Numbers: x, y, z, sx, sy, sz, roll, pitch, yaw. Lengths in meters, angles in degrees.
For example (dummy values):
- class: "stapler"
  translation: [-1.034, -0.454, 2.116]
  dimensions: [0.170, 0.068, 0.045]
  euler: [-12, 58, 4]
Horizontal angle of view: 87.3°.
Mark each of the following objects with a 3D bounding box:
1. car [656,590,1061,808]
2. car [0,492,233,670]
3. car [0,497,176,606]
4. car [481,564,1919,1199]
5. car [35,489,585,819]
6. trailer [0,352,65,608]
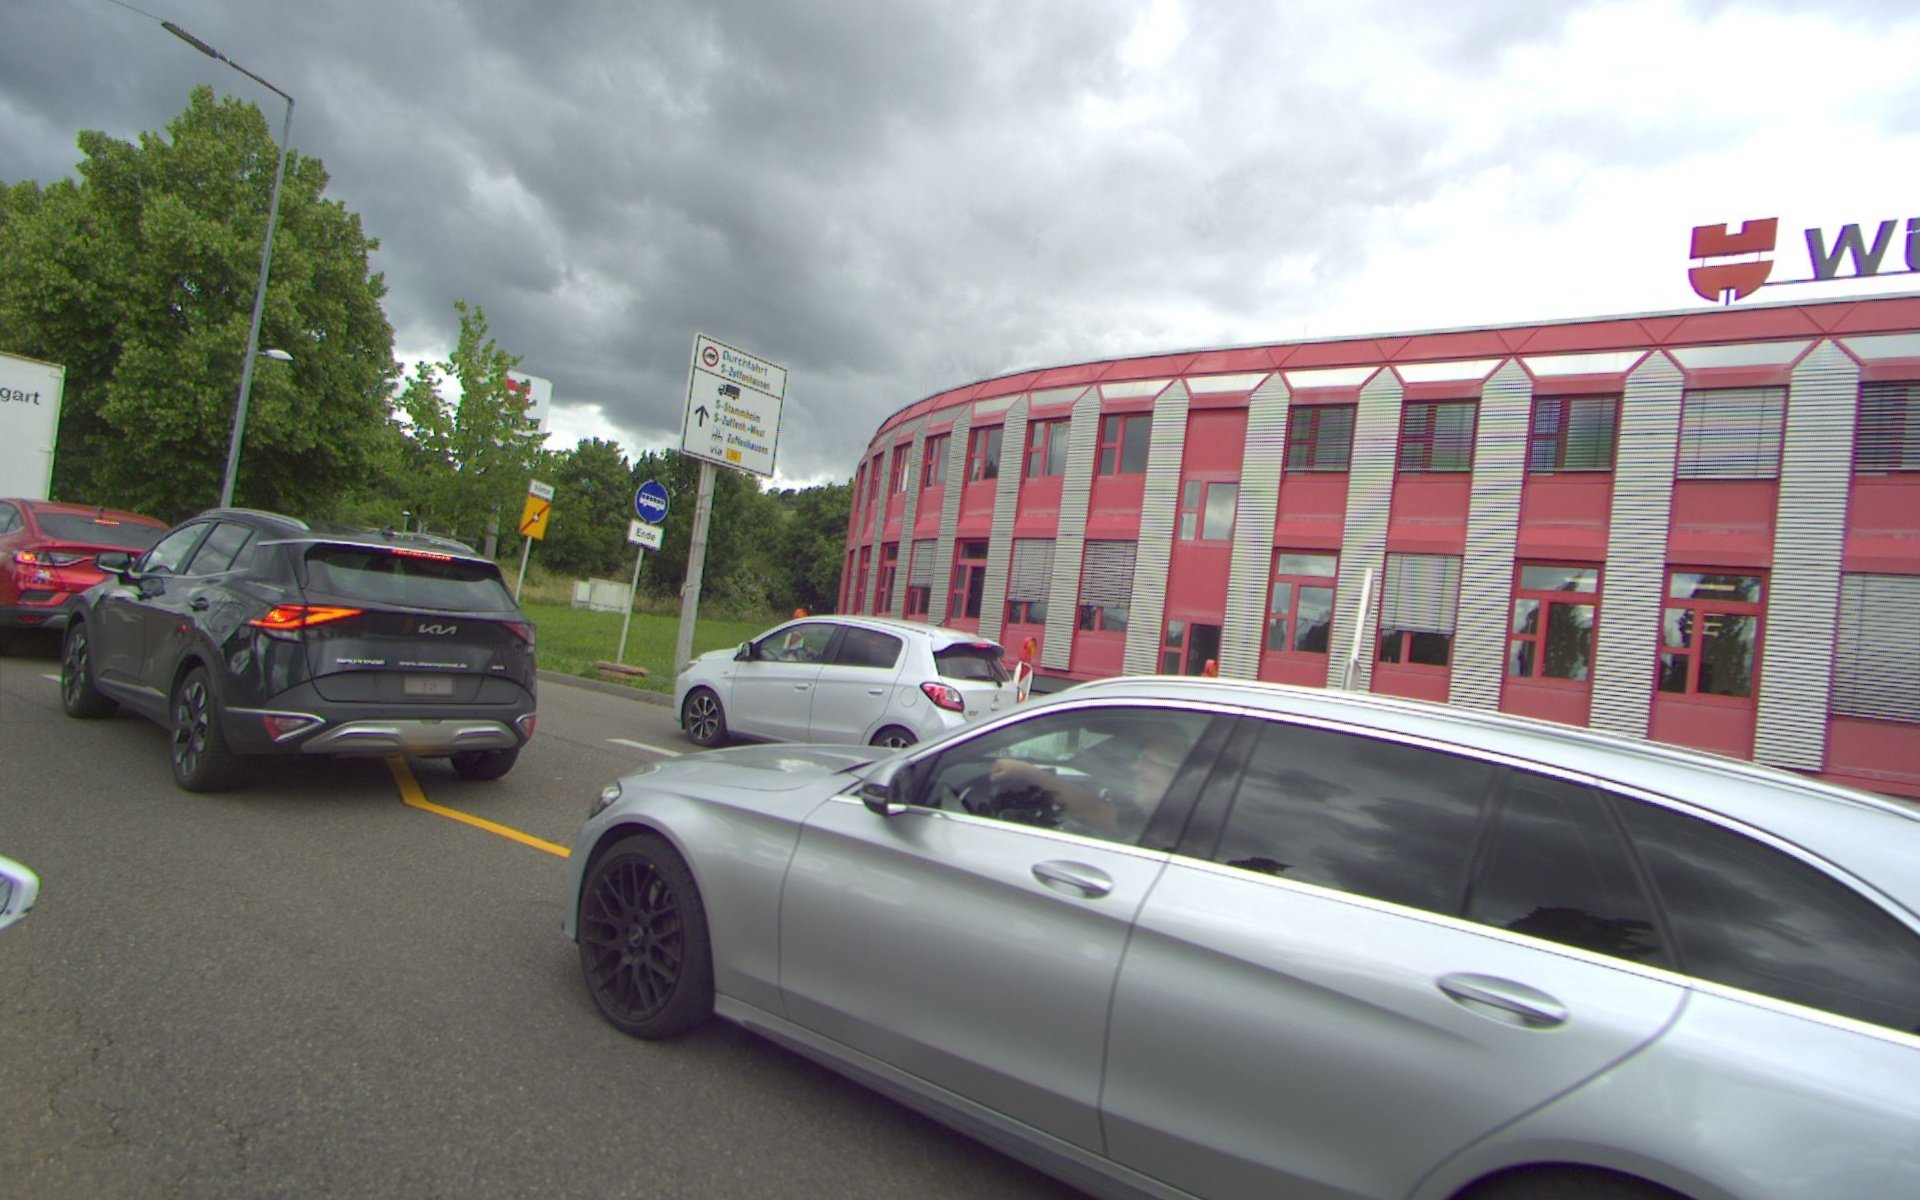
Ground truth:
- class: "car"
  translation: [-1.066, 0.873, 9.891]
  dimensions: [3.629, 1.474, 1.625]
  euler: [7, -1, 34]
- class: "car"
  translation: [-9.906, -0.301, 11.018]
  dimensions: [4.251, 1.542, 1.709]
  euler: [6, -1, 34]
- class: "car"
  translation: [-16.758, -0.930, 19.286]
  dimensions: [3.007, 1.588, 1.574]
  euler: [7, -3, 30]
- class: "car"
  translation: [0.563, 0.880, 3.190]
  dimensions: [4.418, 1.464, 1.673]
  euler: [7, -1, 35]
- class: "car"
  translation: [-4.772, 0.211, 7.130]
  dimensions: [4.338, 1.580, 1.844]
  euler: [7, -1, 38]
- class: "trailer"
  translation: [-17.883, -2.242, 16.416]
  dimensions: [7.635, 3.750, 2.570]
  euler: [7, -1, 32]
